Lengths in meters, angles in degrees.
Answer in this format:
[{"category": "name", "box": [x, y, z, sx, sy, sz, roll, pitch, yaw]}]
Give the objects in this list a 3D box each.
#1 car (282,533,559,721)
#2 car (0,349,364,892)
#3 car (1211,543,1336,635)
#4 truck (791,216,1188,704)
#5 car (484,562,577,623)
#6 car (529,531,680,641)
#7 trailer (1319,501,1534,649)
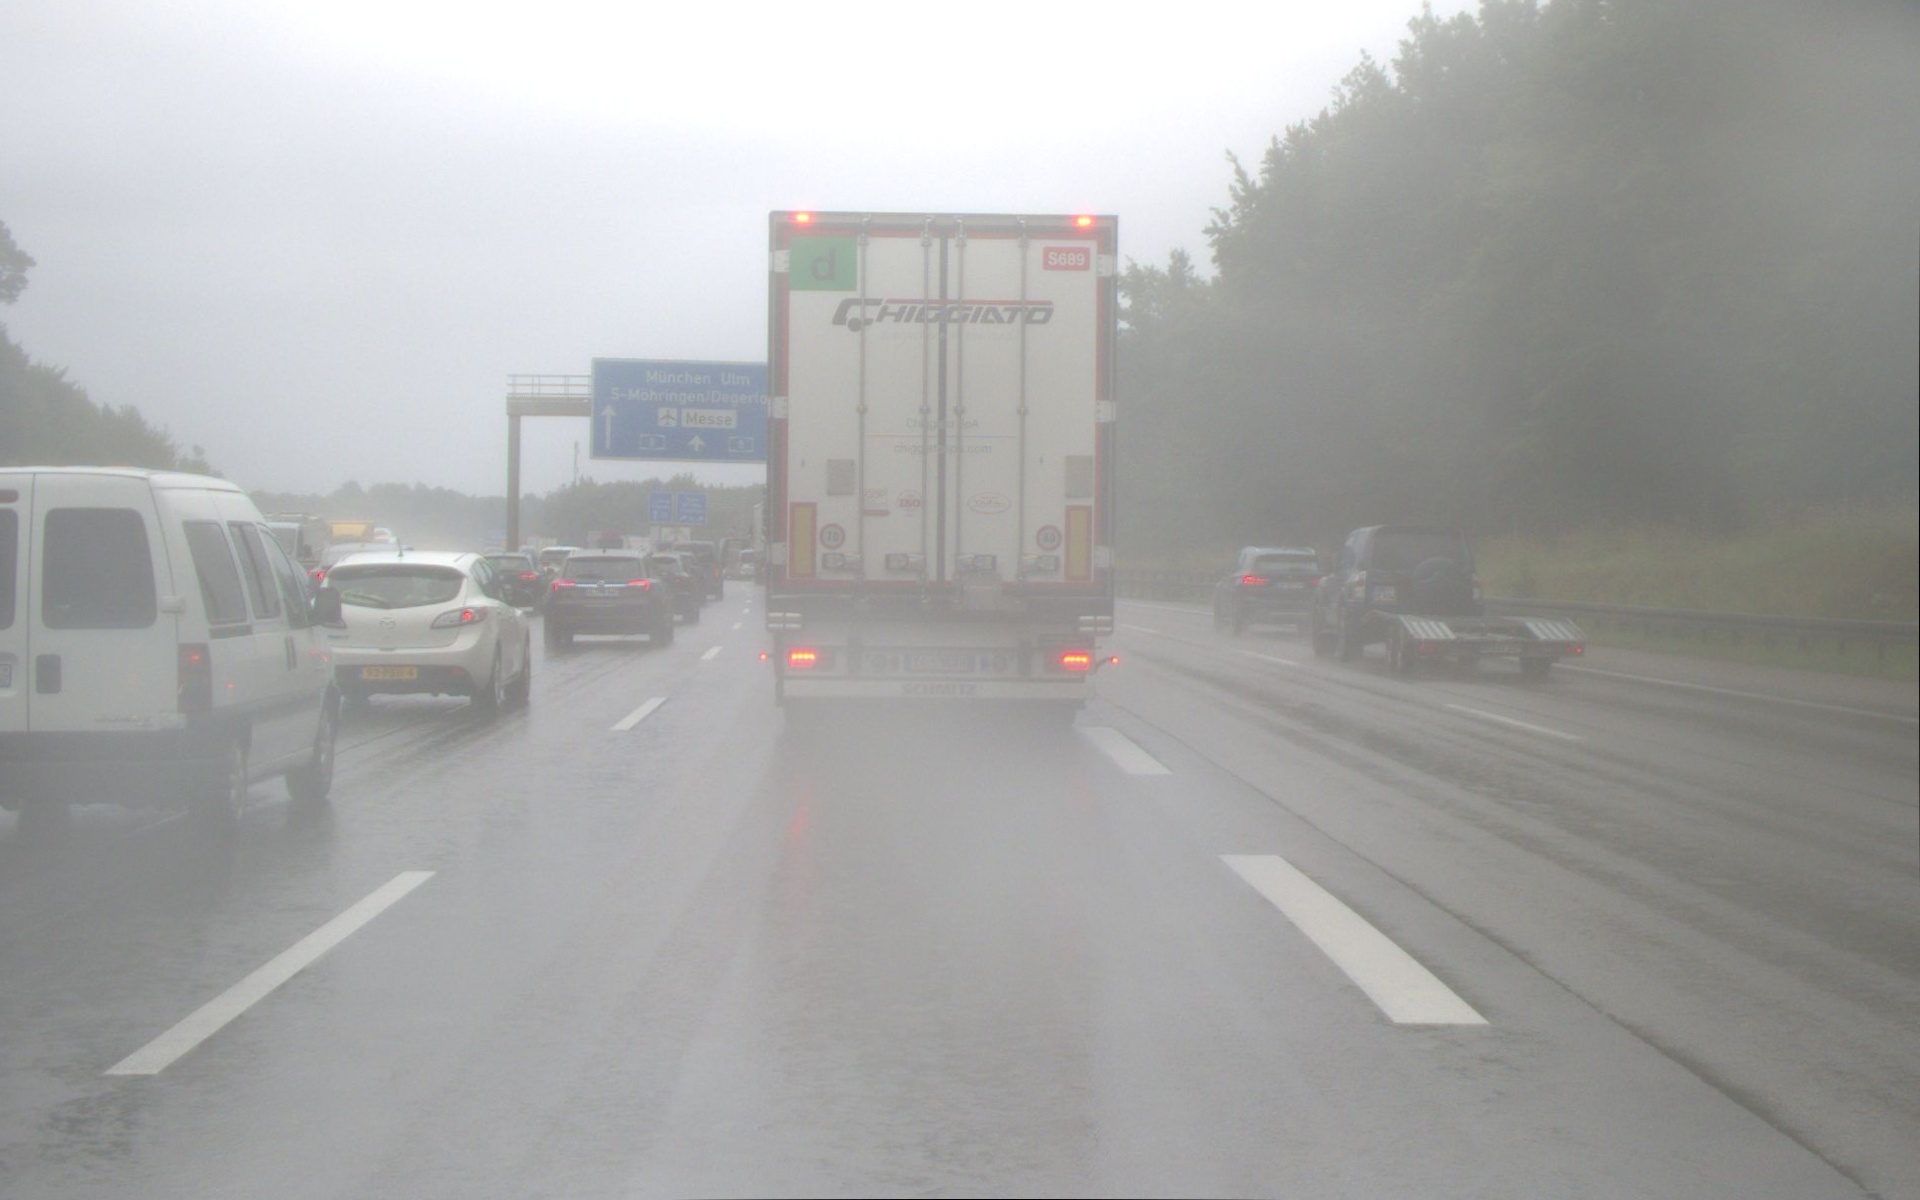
[{"category": "car", "box": [-4.905, 0.195, 31.760, 1.845, 1.586, 4.072, 1, 1, 1]}, {"category": "car", "box": [-4.671, 0.038, 18.802, 2.212, 2.564, 5.016, 1, 1, -3]}, {"category": "car", "box": [5.747, -0.231, 63.538, 1.990, 1.578, 4.767, 1, 1, 2]}, {"category": "truck", "box": [0.210, -1.086, 30.892, 2.872, 3.550, 11.302, 1, 1, 0]}, {"category": "car", "box": [-10.180, -0.198, 81.757, 1.845, 1.326, 4.467, 1, 1, -3]}, {"category": "car", "box": [-5.396, -0.251, 52.646, 1.845, 1.586, 4.467, 1, 1, 0]}, {"category": "trailer", "box": [5.733, -0.345, 42.836, 2.243, 1.709, 5.082, 1, 1, 3]}]
